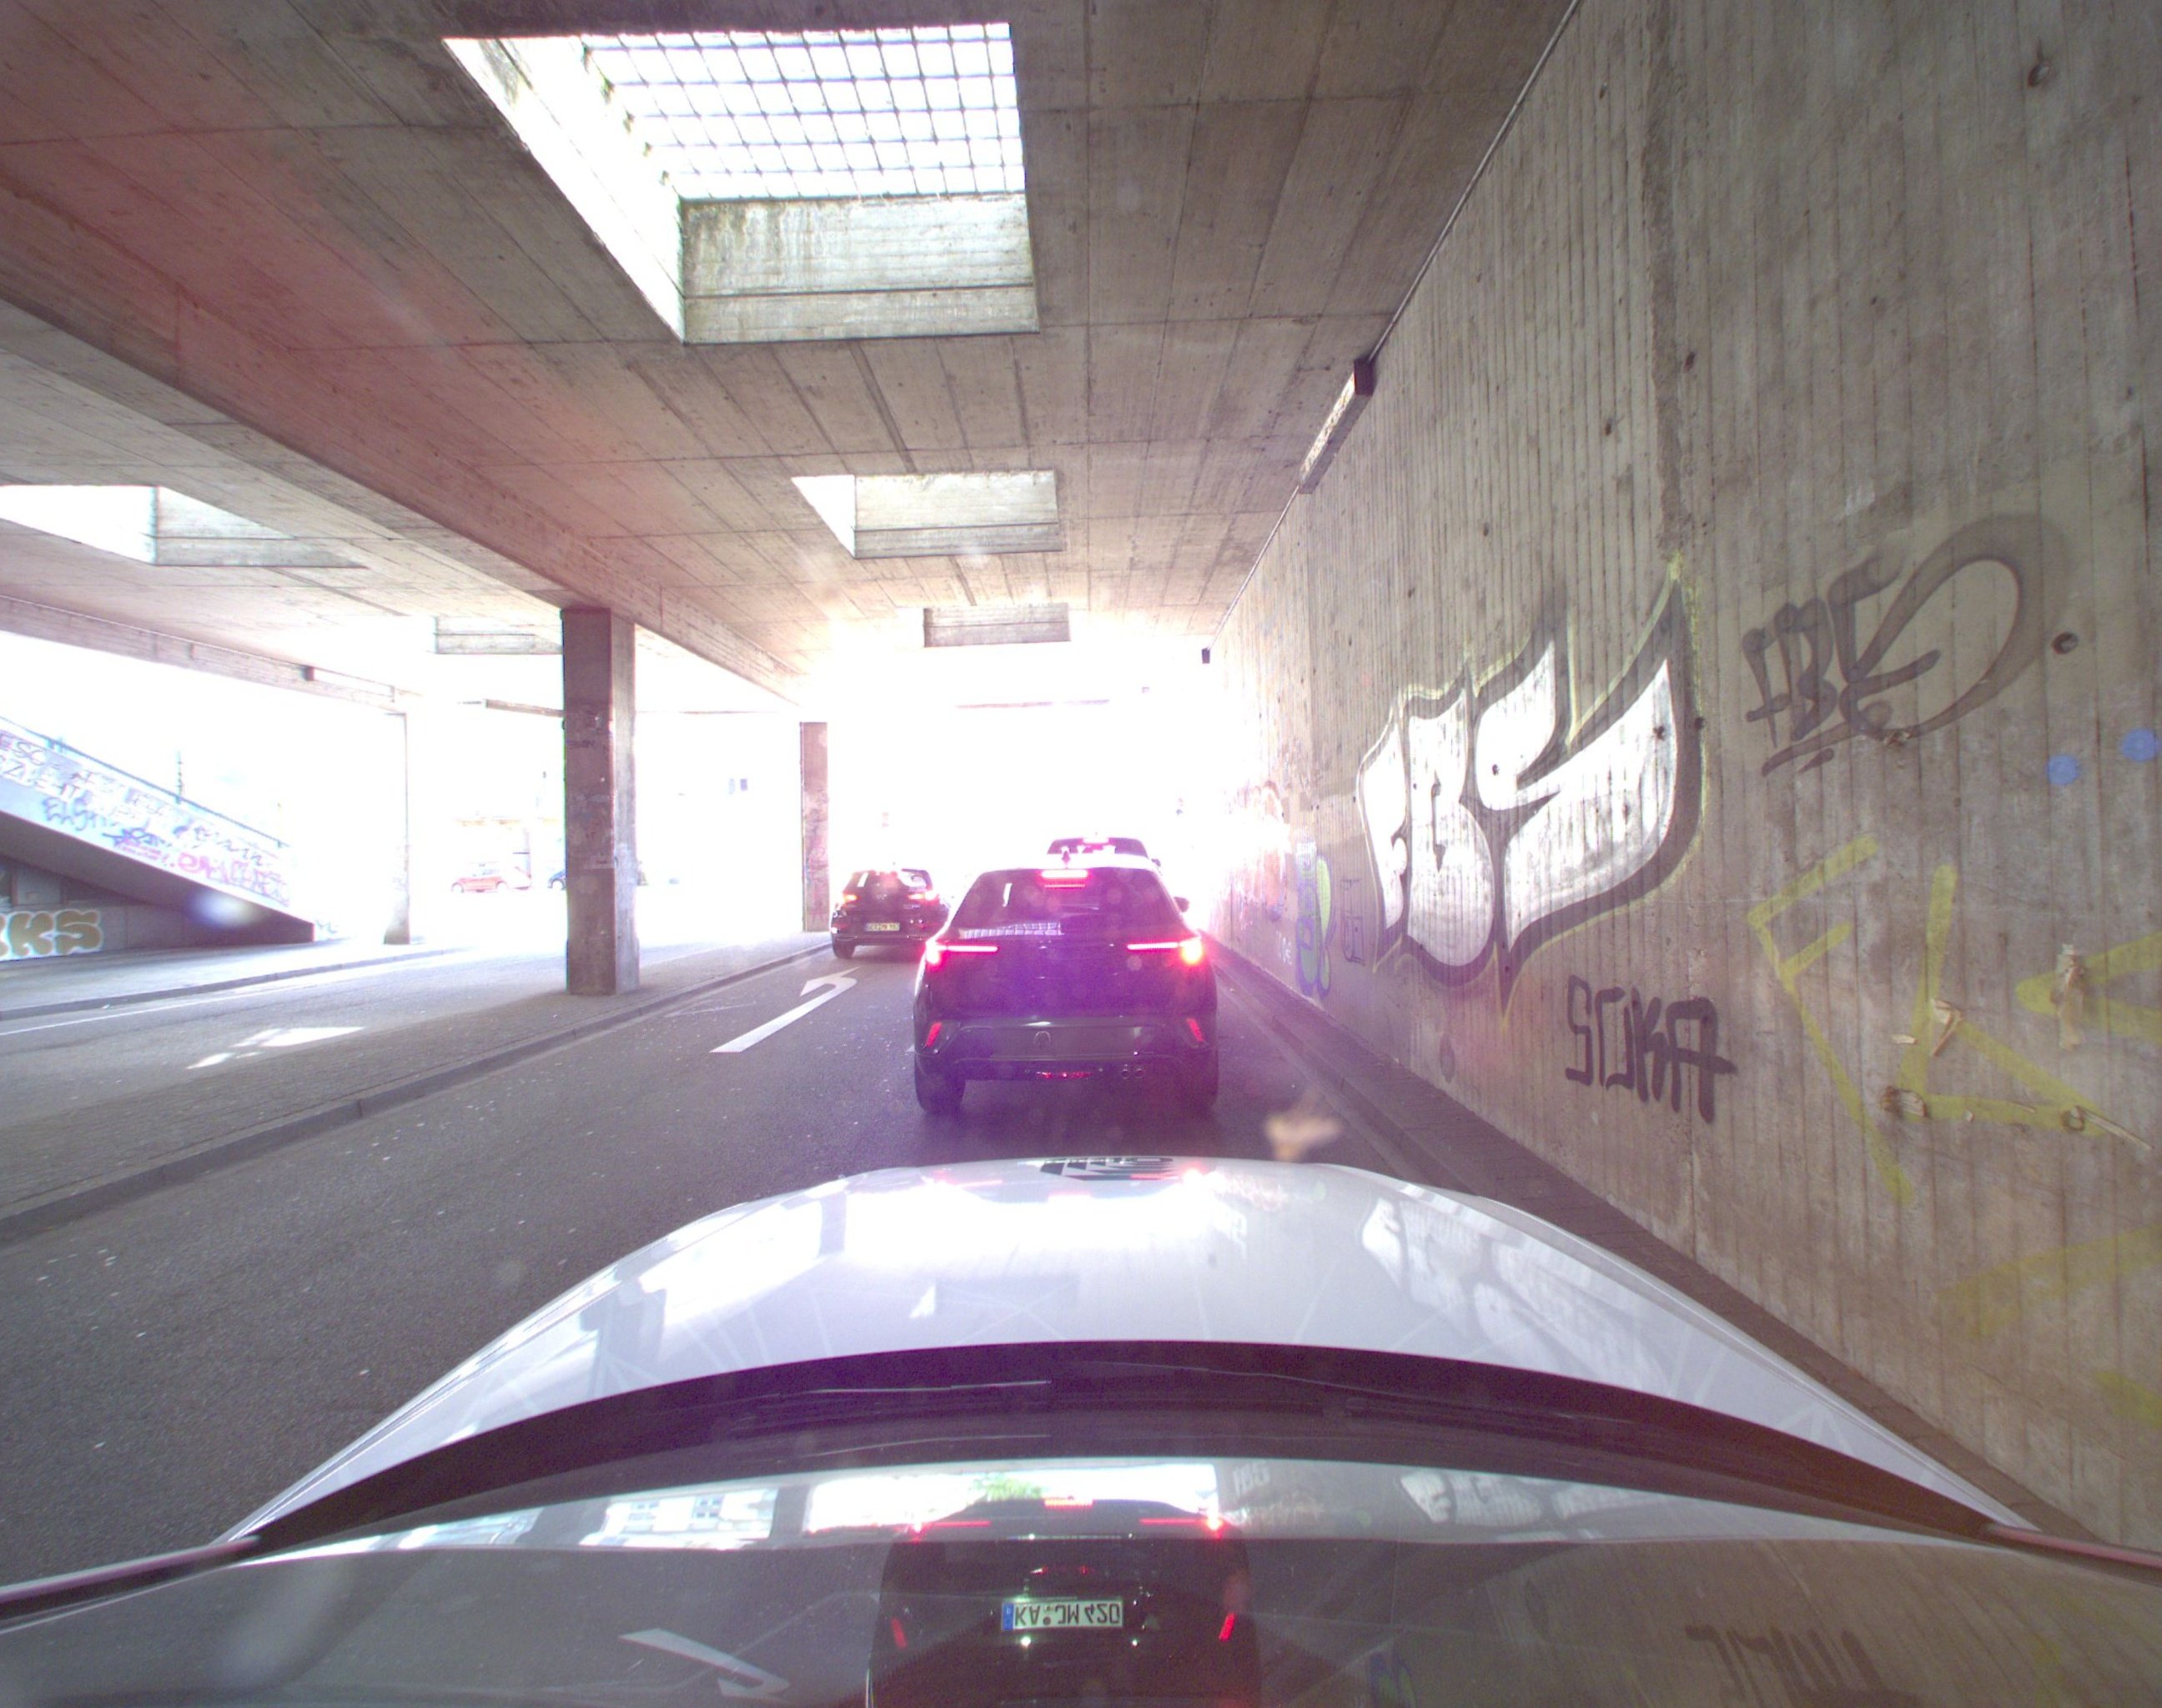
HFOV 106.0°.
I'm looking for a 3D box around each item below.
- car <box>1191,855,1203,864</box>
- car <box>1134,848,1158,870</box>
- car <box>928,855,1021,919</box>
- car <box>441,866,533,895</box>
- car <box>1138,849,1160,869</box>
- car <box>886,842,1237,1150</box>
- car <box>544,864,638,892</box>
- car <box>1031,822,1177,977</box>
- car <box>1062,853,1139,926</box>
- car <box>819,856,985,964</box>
[{"bbox_3d":[21.324,1.068,149.502,1.805,1.667,4.833,-1,-1,13],"label":"car"},{"bbox_3d":[4.965,0.380,62.204,1.745,1.667,3.950,0,-1,6],"label":"car"},{"bbox_3d":[-2.666,0.795,21.165,1.755,1.480,3.846,-1,0,2],"label":"car"},{"bbox_3d":[-32.933,1.440,45.224,3.748,1.475,1.749,-1,-1,0],"label":"car"},{"bbox_3d":[5.753,0.424,68.308,1.745,1.667,3.950,0,-1,6],"label":"car"},{"bbox_3d":[-0.036,0.725,6.178,1.755,1.531,4.091,-1,0,2],"label":"car"},{"bbox_3d":[-27.177,1.318,45.246,4.096,1.475,1.737,-1,-1,0],"label":"car"},{"bbox_3d":[0.350,0.566,12.117,1.755,1.883,4.148,-1,0,2],"label":"car"},{"bbox_3d":[0.486,0.761,19.335,1.603,1.513,4.055,-1,0,2],"label":"car"},{"bbox_3d":[-2.756,0.798,13.437,1.755,1.480,3.846,-1,0,2],"label":"car"}]
